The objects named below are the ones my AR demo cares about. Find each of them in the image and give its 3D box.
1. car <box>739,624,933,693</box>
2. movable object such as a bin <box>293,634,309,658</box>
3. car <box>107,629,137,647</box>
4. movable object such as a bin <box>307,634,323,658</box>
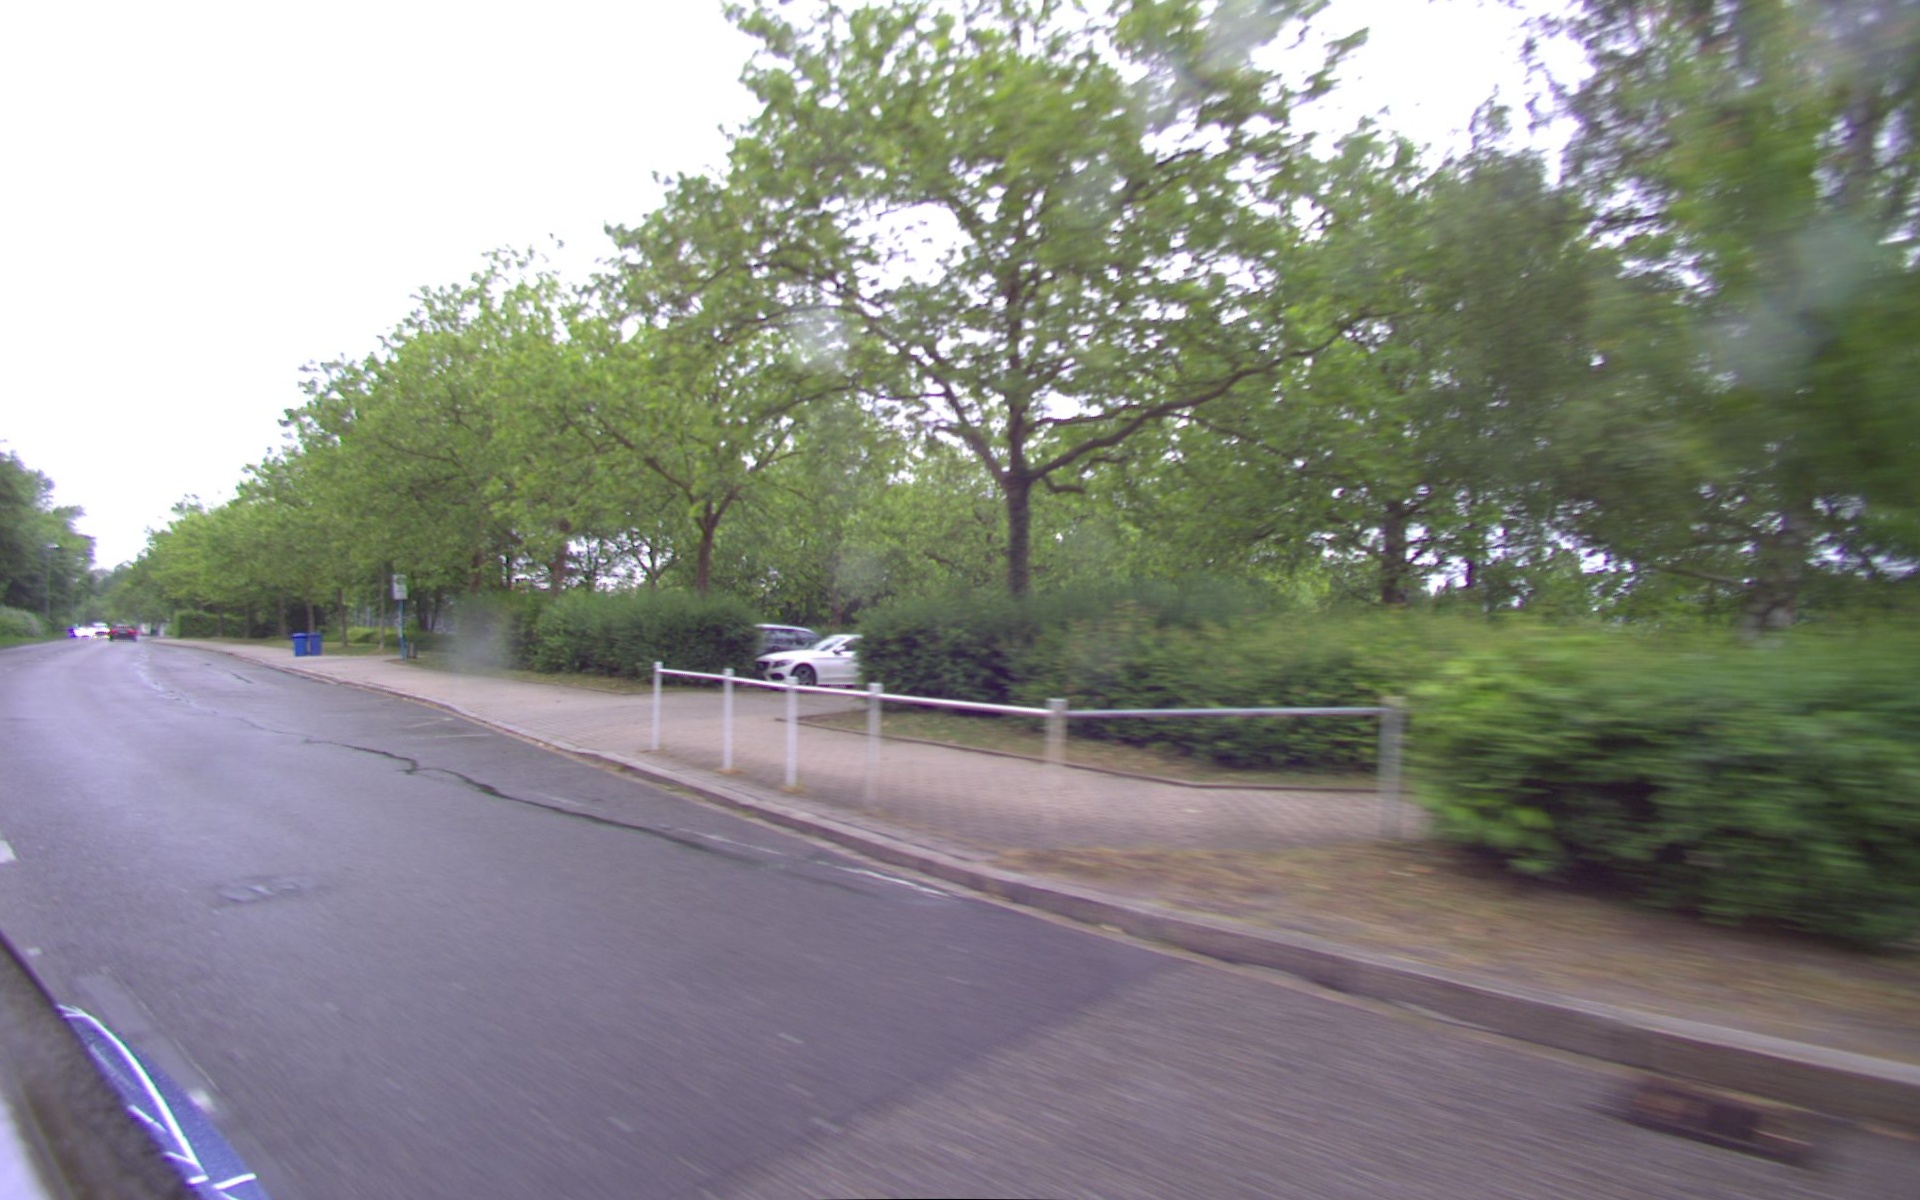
[{"bbox_3d":[-3.050,1.499,25.318,4.437,1.522,1.805,5,-5,-34],"label":"car"},{"bbox_3d":[-31.384,2.202,48.187,0.559,1.107,0.673,-2,0,-37],"label":"movable object such as a bin"},{"bbox_3d":[-71.571,3.227,86.481,1.803,1.476,4.008,3,-3,-38],"label":"car"},{"bbox_3d":[-31.032,2.202,48.702,0.559,1.107,0.673,-2,0,-37],"label":"movable object such as a bin"}]
